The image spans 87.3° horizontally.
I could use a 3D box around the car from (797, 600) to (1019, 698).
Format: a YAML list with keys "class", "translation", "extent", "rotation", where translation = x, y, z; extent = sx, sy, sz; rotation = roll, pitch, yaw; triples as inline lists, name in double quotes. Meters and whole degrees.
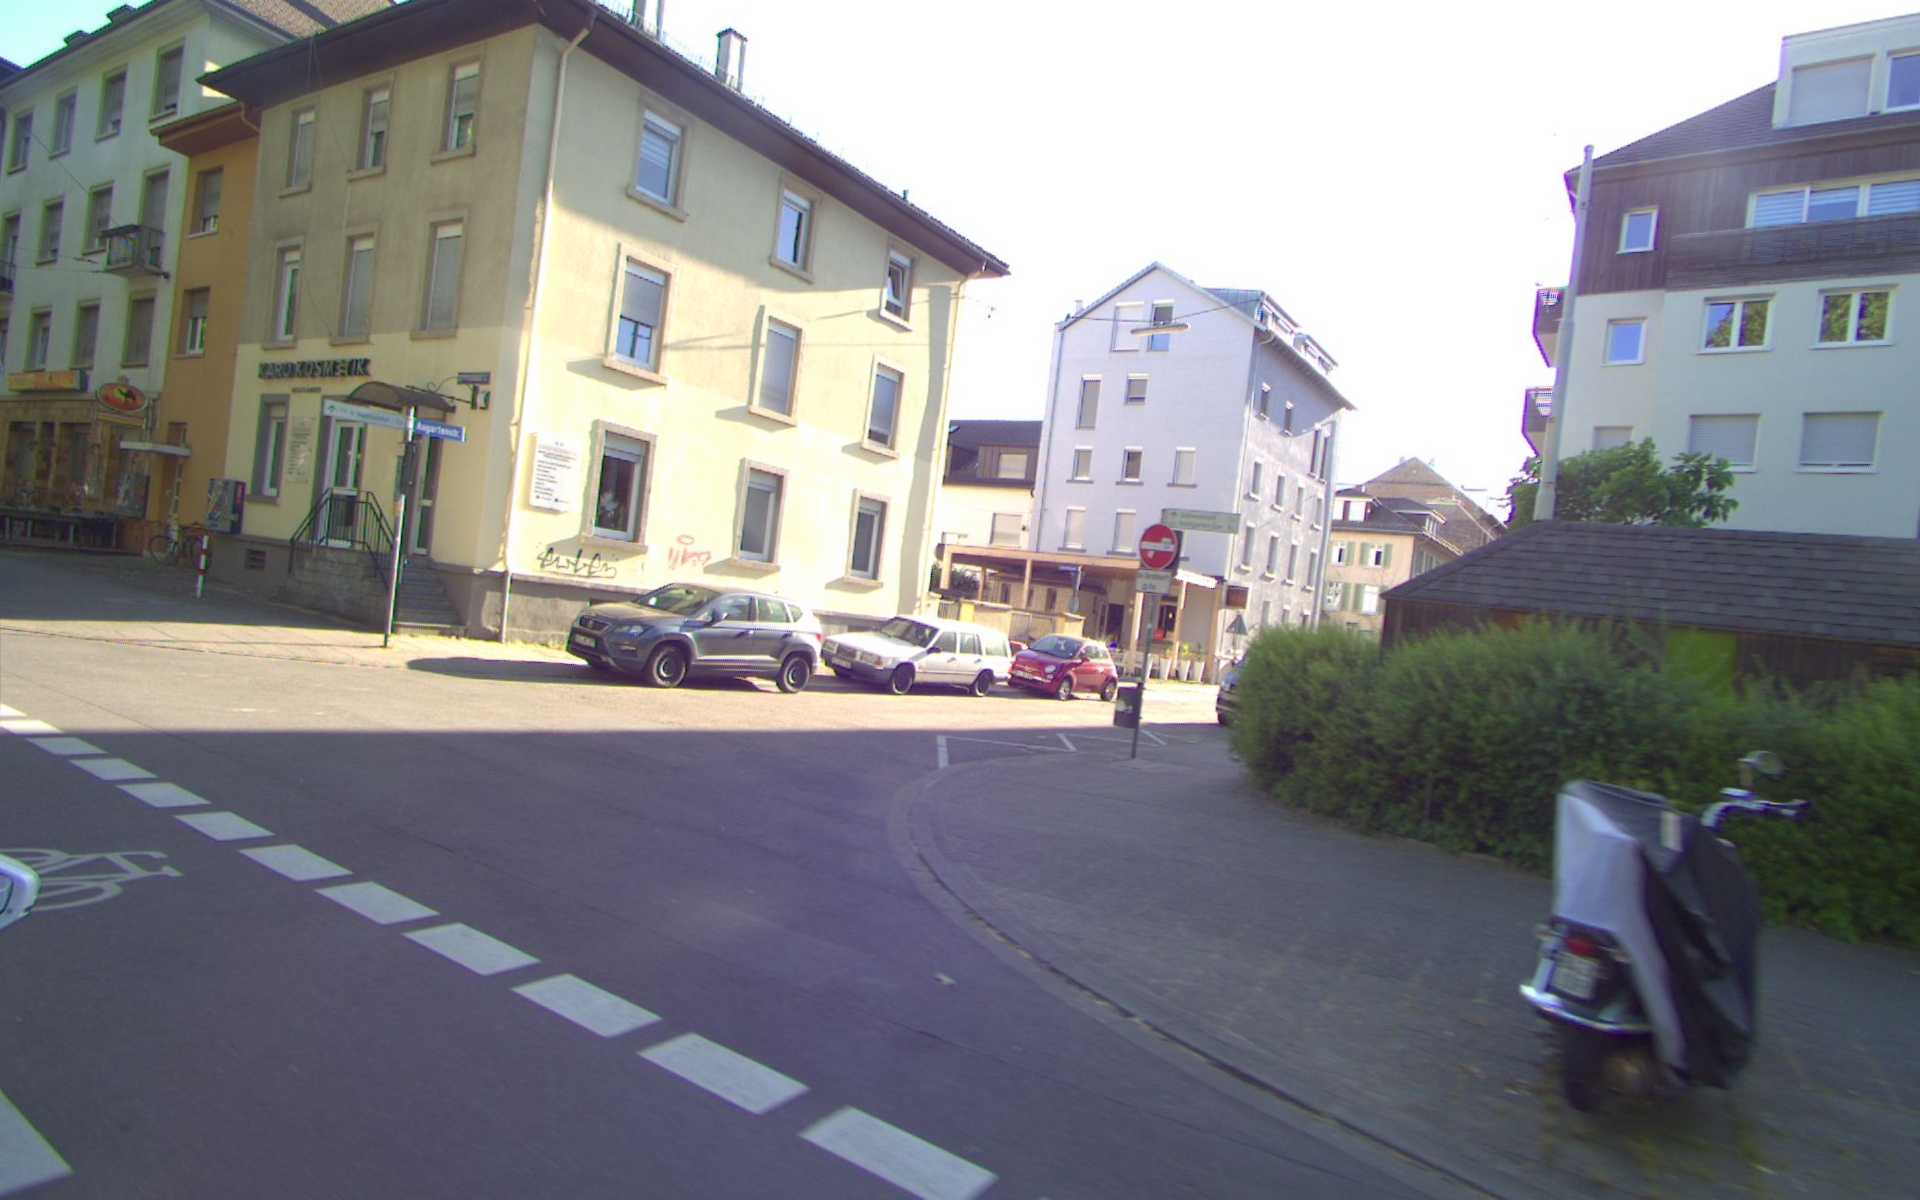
- class: "car"
  translation: [-0.926, 1.103, 21.149]
  extent: [1.885, 1.560, 4.941]
  rotation: [7, -2, 35]

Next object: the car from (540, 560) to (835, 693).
- class: "car"
  translation: [-4.173, 0.502, 16.051]
  extent: [1.861, 1.616, 4.190]
  rotation: [7, -1, 35]

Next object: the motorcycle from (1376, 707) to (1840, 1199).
- class: "motorcycle"
  translation: [2.624, 1.175, 3.952]
  extent: [2.081, 1.376, 0.913]
  rotation: [5, 1, -42]

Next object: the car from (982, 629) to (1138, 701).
- class: "car"
  translation: [2.636, 1.702, 25.620]
  extent: [1.990, 1.451, 4.258]
  rotation: [7, -1, 35]

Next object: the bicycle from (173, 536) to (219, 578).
- class: "bicycle"
  translation: [-16.830, -0.960, 22.152]
  extent: [1.768, 0.798, 0.473]
  rotation: [6, -1, 44]

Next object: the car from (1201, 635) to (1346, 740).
- class: "car"
  translation: [7.083, 1.949, 22.506]
  extent: [1.897, 1.913, 3.887]
  rotation: [7, -1, 34]

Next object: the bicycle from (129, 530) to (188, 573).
- class: "bicycle"
  translation: [-17.967, -1.098, 22.536]
  extent: [1.762, 0.798, 0.410]
  rotation: [7, -1, 32]
